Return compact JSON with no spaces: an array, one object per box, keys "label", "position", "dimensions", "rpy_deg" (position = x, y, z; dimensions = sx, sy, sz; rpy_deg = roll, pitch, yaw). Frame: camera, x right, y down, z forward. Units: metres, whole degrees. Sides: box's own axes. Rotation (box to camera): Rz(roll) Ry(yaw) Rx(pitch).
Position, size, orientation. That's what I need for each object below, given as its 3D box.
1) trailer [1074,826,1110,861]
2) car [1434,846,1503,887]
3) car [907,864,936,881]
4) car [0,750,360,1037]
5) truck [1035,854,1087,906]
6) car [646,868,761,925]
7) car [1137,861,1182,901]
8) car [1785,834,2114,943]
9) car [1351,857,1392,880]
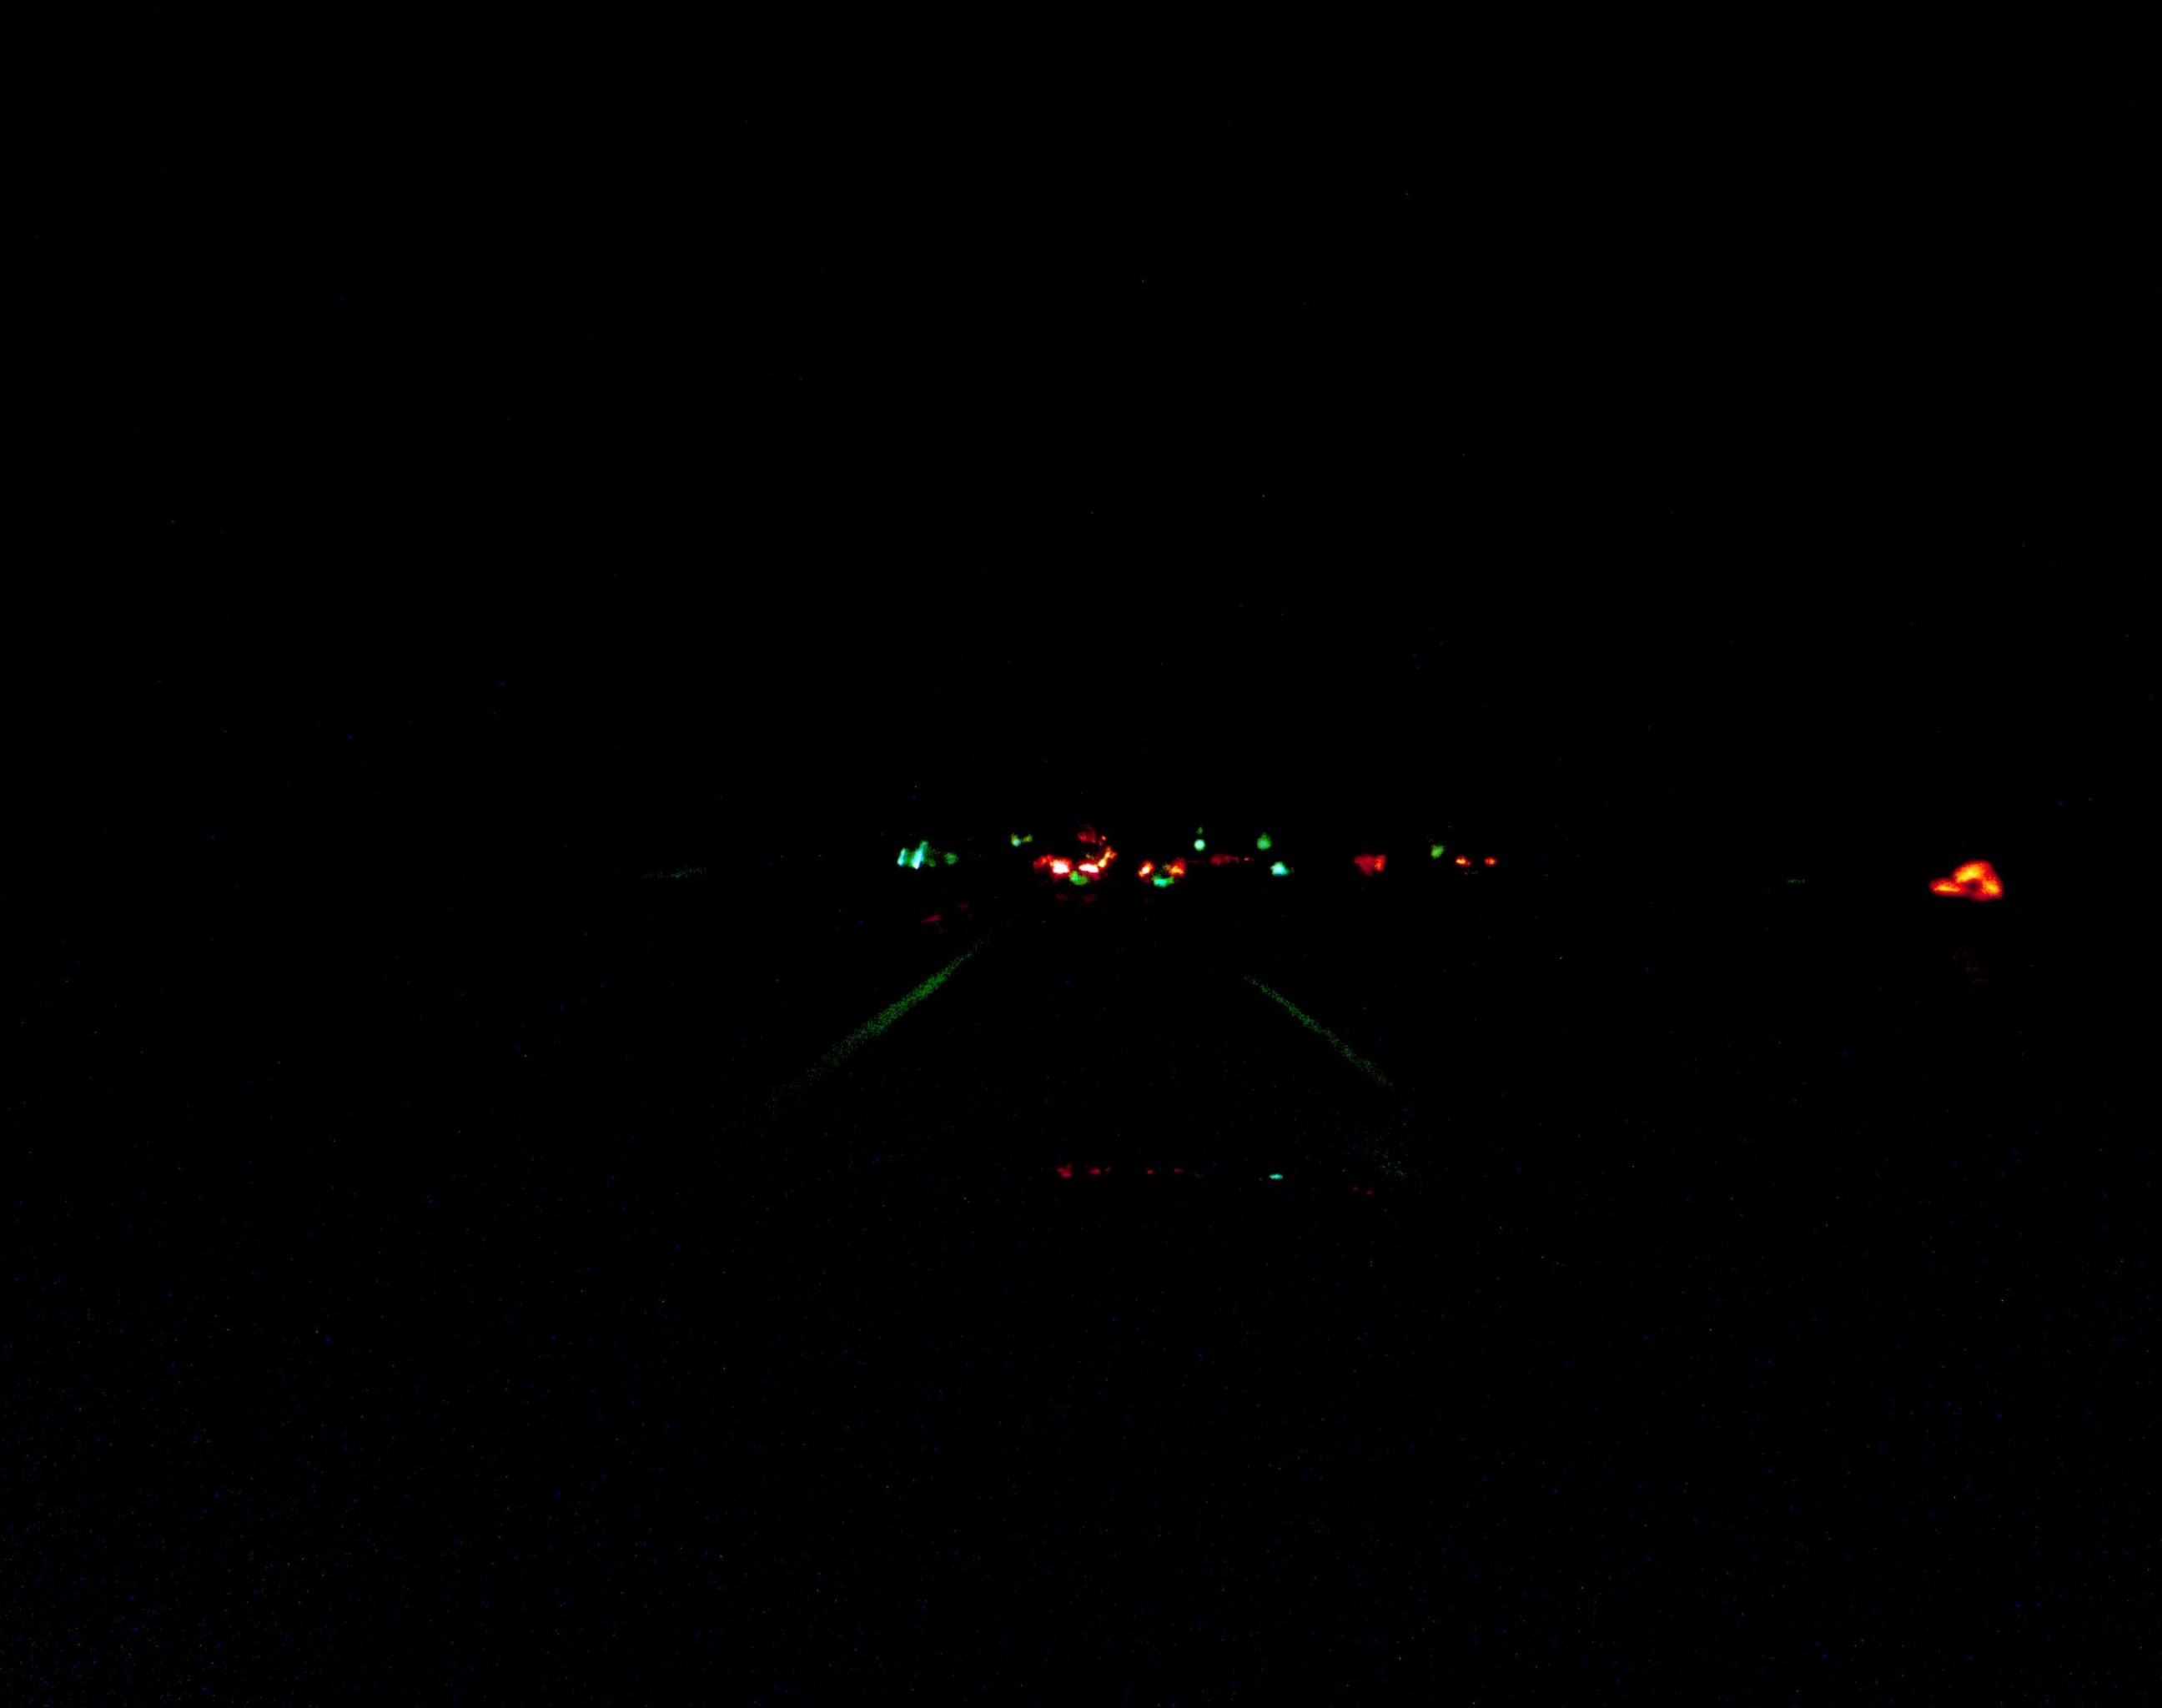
[{"label":"trailer","position":[1.421,-1.613,114.384],"dimensions":[2.738,4.246,13.335],"rpy_deg":[-4,4,-9]},{"label":"car","position":[20.129,0.605,42.524],"dimensions":[2.219,2.013,4.010],"rpy_deg":[1,1,9]},{"label":"car","position":[-14.955,1.718,76.530],"dimensions":[2.119,1.526,3.997],"rpy_deg":[0,0,-2]},{"label":"car","position":[-8.526,0.242,6.415],"dimensions":[1.986,2.013,4.002],"rpy_deg":[2,0,2]},{"label":"truck","position":[-0.869,1.096,37.776],"dimensions":[2.138,2.077,6.602],"rpy_deg":[2,0,0]},{"label":"car","position":[-13.185,1.433,28.752],"dimensions":[1.985,1.735,4.003],"rpy_deg":[2,0,3]},{"label":"car","position":[3.514,1.185,37.125],"dimensions":[1.793,1.617,4.260],"rpy_deg":[-2,0,3]},{"label":"car","position":[18.654,0.600,18.031],"dimensions":[2.051,2.013,5.463],"rpy_deg":[1,1,9]},{"label":"car","position":[22.787,1.111,64.078],"dimensions":[1.985,1.600,4.003],"rpy_deg":[2,0,3]}]
